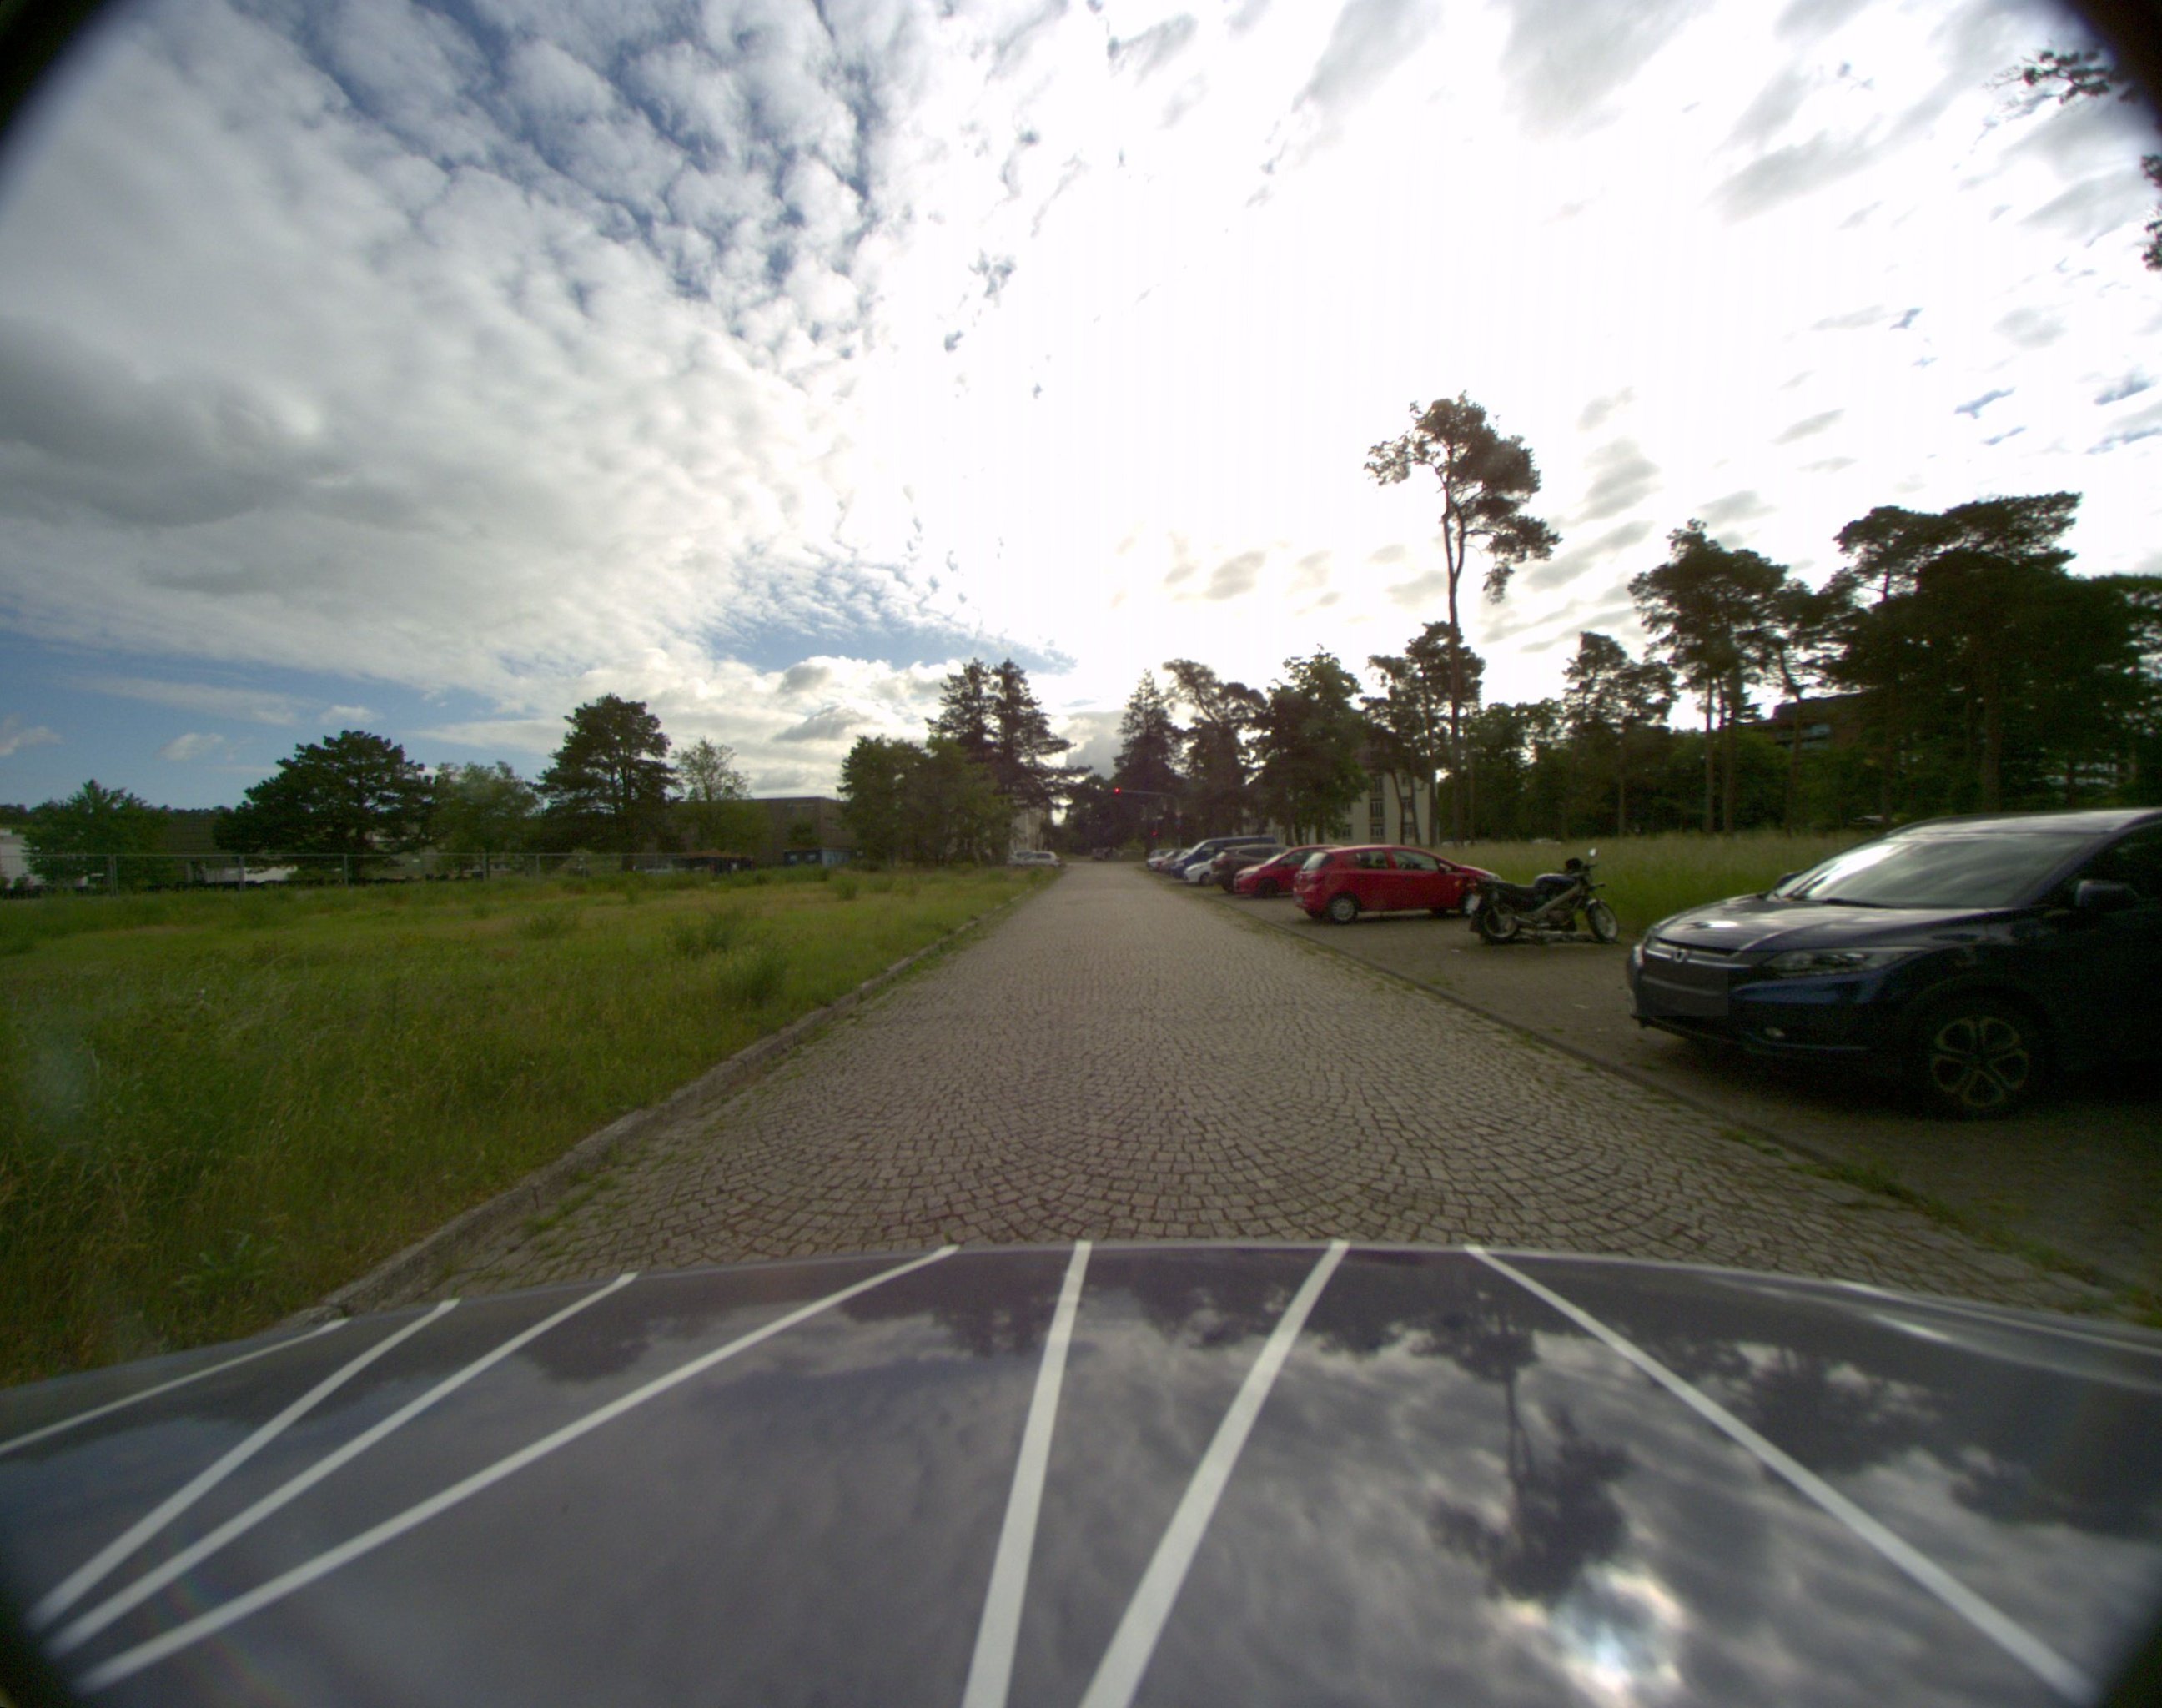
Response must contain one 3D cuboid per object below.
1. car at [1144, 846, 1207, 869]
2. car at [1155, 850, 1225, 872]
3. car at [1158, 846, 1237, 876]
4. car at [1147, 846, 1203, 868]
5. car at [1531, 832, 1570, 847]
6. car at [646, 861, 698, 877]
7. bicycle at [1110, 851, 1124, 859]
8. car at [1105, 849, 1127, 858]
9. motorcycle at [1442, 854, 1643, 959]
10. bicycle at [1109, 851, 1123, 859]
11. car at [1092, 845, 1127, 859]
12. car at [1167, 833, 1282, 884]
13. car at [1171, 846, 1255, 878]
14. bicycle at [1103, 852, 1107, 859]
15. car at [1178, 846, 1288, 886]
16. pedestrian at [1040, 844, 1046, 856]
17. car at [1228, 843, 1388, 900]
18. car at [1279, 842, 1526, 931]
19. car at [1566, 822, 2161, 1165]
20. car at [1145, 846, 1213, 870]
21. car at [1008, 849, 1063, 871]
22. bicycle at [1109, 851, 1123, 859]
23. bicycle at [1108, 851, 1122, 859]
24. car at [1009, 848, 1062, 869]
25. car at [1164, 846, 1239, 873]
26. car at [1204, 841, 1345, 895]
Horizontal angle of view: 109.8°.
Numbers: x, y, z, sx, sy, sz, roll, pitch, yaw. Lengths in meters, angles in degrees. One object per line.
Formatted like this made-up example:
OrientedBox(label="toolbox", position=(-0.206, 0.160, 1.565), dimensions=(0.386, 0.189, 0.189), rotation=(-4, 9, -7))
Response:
OrientedBox(label="car", position=(6.833, 0.234, 55.417), dimensions=(4.261, 1.539, 1.935), rotation=(-2, 1, -2))
OrientedBox(label="car", position=(6.832, 0.428, 48.004), dimensions=(4.176, 1.259, 1.831), rotation=(-2, 1, 2))
OrientedBox(label="car", position=(6.438, 0.384, 42.426), dimensions=(4.175, 1.483, 1.865), rotation=(-2, 1, 3))
OrientedBox(label="car", position=(7.156, 0.205, 58.141), dimensions=(3.997, 1.534, 1.905), rotation=(-2, 1, 0))
OrientedBox(label="car", position=(61.125, -1.844, 98.979), dimensions=(3.996, 1.796, 1.722), rotation=(-2, 1, 4))
OrientedBox(label="car", position=(-40.876, 1.473, 76.006), dimensions=(3.997, 1.474, 1.972), rotation=(-2, 0, -2))
OrientedBox(label="bicycle", position=(5.083, 0.121, 108.645), dimensions=(1.950, 1.059, 0.562), rotation=(-2, 1, 0))
OrientedBox(label="car", position=(5.627, -0.079, 121.699), dimensions=(3.439, 1.440, 1.913), rotation=(-2, 0, 0))
OrientedBox(label="motorcycle", position=(6.365, 0.710, 10.560), dimensions=(2.280, 1.284, 0.719), rotation=(-3, 1, 2))
OrientedBox(label="bicycle", position=(5.007, 0.113, 109.132), dimensions=(1.950, 1.059, 0.562), rotation=(-2, 1, 0))
OrientedBox(label="car", position=(4.723, -0.326, 125.351), dimensions=(5.366, 1.987, 2.289), rotation=(-2, 1, -7))
OrientedBox(label="car", position=(6.397, 0.187, 34.288), dimensions=(4.794, 2.110, 2.115), rotation=(-2, 1, 0))
OrientedBox(label="car", position=(6.827, 0.413, 39.577), dimensions=(4.077, 1.488, 1.846), rotation=(-2, 1, 2))
OrientedBox(label="bicycle", position=(3.266, 0.236, 103.530), dimensions=(0.459, 0.903, 1.663), rotation=(-2, 0, 5))
OrientedBox(label="car", position=(6.296, 0.486, 31.705), dimensions=(4.177, 1.501, 1.781), rotation=(-2, 1, -1))
OrientedBox(label="pedestrian", position=(-6.110, -0.605, 121.216), dimensions=(0.589, 1.926, 0.792), rotation=(-2, 1, -32))
OrientedBox(label="car", position=(6.664, 0.496, 22.661), dimensions=(4.176, 1.501, 1.907), rotation=(-2, 1, 0))
OrientedBox(label="car", position=(6.214, 0.596, 15.039), dimensions=(4.065, 1.516, 1.905), rotation=(-2, 1, 0))
OrientedBox(label="car", position=(5.767, 0.661, 4.729), dimensions=(4.239, 1.568, 1.887), rotation=(-3, 1, 0))
OrientedBox(label="car", position=(6.758, 0.269, 52.674), dimensions=(4.385, 1.499, 1.935), rotation=(-2, 1, -1))
OrientedBox(label="car", position=(-3.413, 0.447, 57.346), dimensions=(4.084, 1.506, 1.804), rotation=(1, 1, -1))
OrientedBox(label="bicycle", position=(4.892, 0.125, 107.473), dimensions=(1.950, 1.104, 0.562), rotation=(-2, 1, 0))
OrientedBox(label="bicycle", position=(4.827, 0.161, 106.919), dimensions=(1.898, 1.059, 0.616), rotation=(-2, 1, 0))
OrientedBox(label="car", position=(-3.718, 0.374, 62.780), dimensions=(4.251, 1.587, 1.884), rotation=(1, 1, -2))
OrientedBox(label="car", position=(7.137, 0.333, 45.339), dimensions=(4.176, 1.473, 1.846), rotation=(-2, 1, 2))
OrientedBox(label="car", position=(6.386, 0.459, 25.408), dimensions=(4.177, 1.613, 1.986), rotation=(-2, 1, -1))
